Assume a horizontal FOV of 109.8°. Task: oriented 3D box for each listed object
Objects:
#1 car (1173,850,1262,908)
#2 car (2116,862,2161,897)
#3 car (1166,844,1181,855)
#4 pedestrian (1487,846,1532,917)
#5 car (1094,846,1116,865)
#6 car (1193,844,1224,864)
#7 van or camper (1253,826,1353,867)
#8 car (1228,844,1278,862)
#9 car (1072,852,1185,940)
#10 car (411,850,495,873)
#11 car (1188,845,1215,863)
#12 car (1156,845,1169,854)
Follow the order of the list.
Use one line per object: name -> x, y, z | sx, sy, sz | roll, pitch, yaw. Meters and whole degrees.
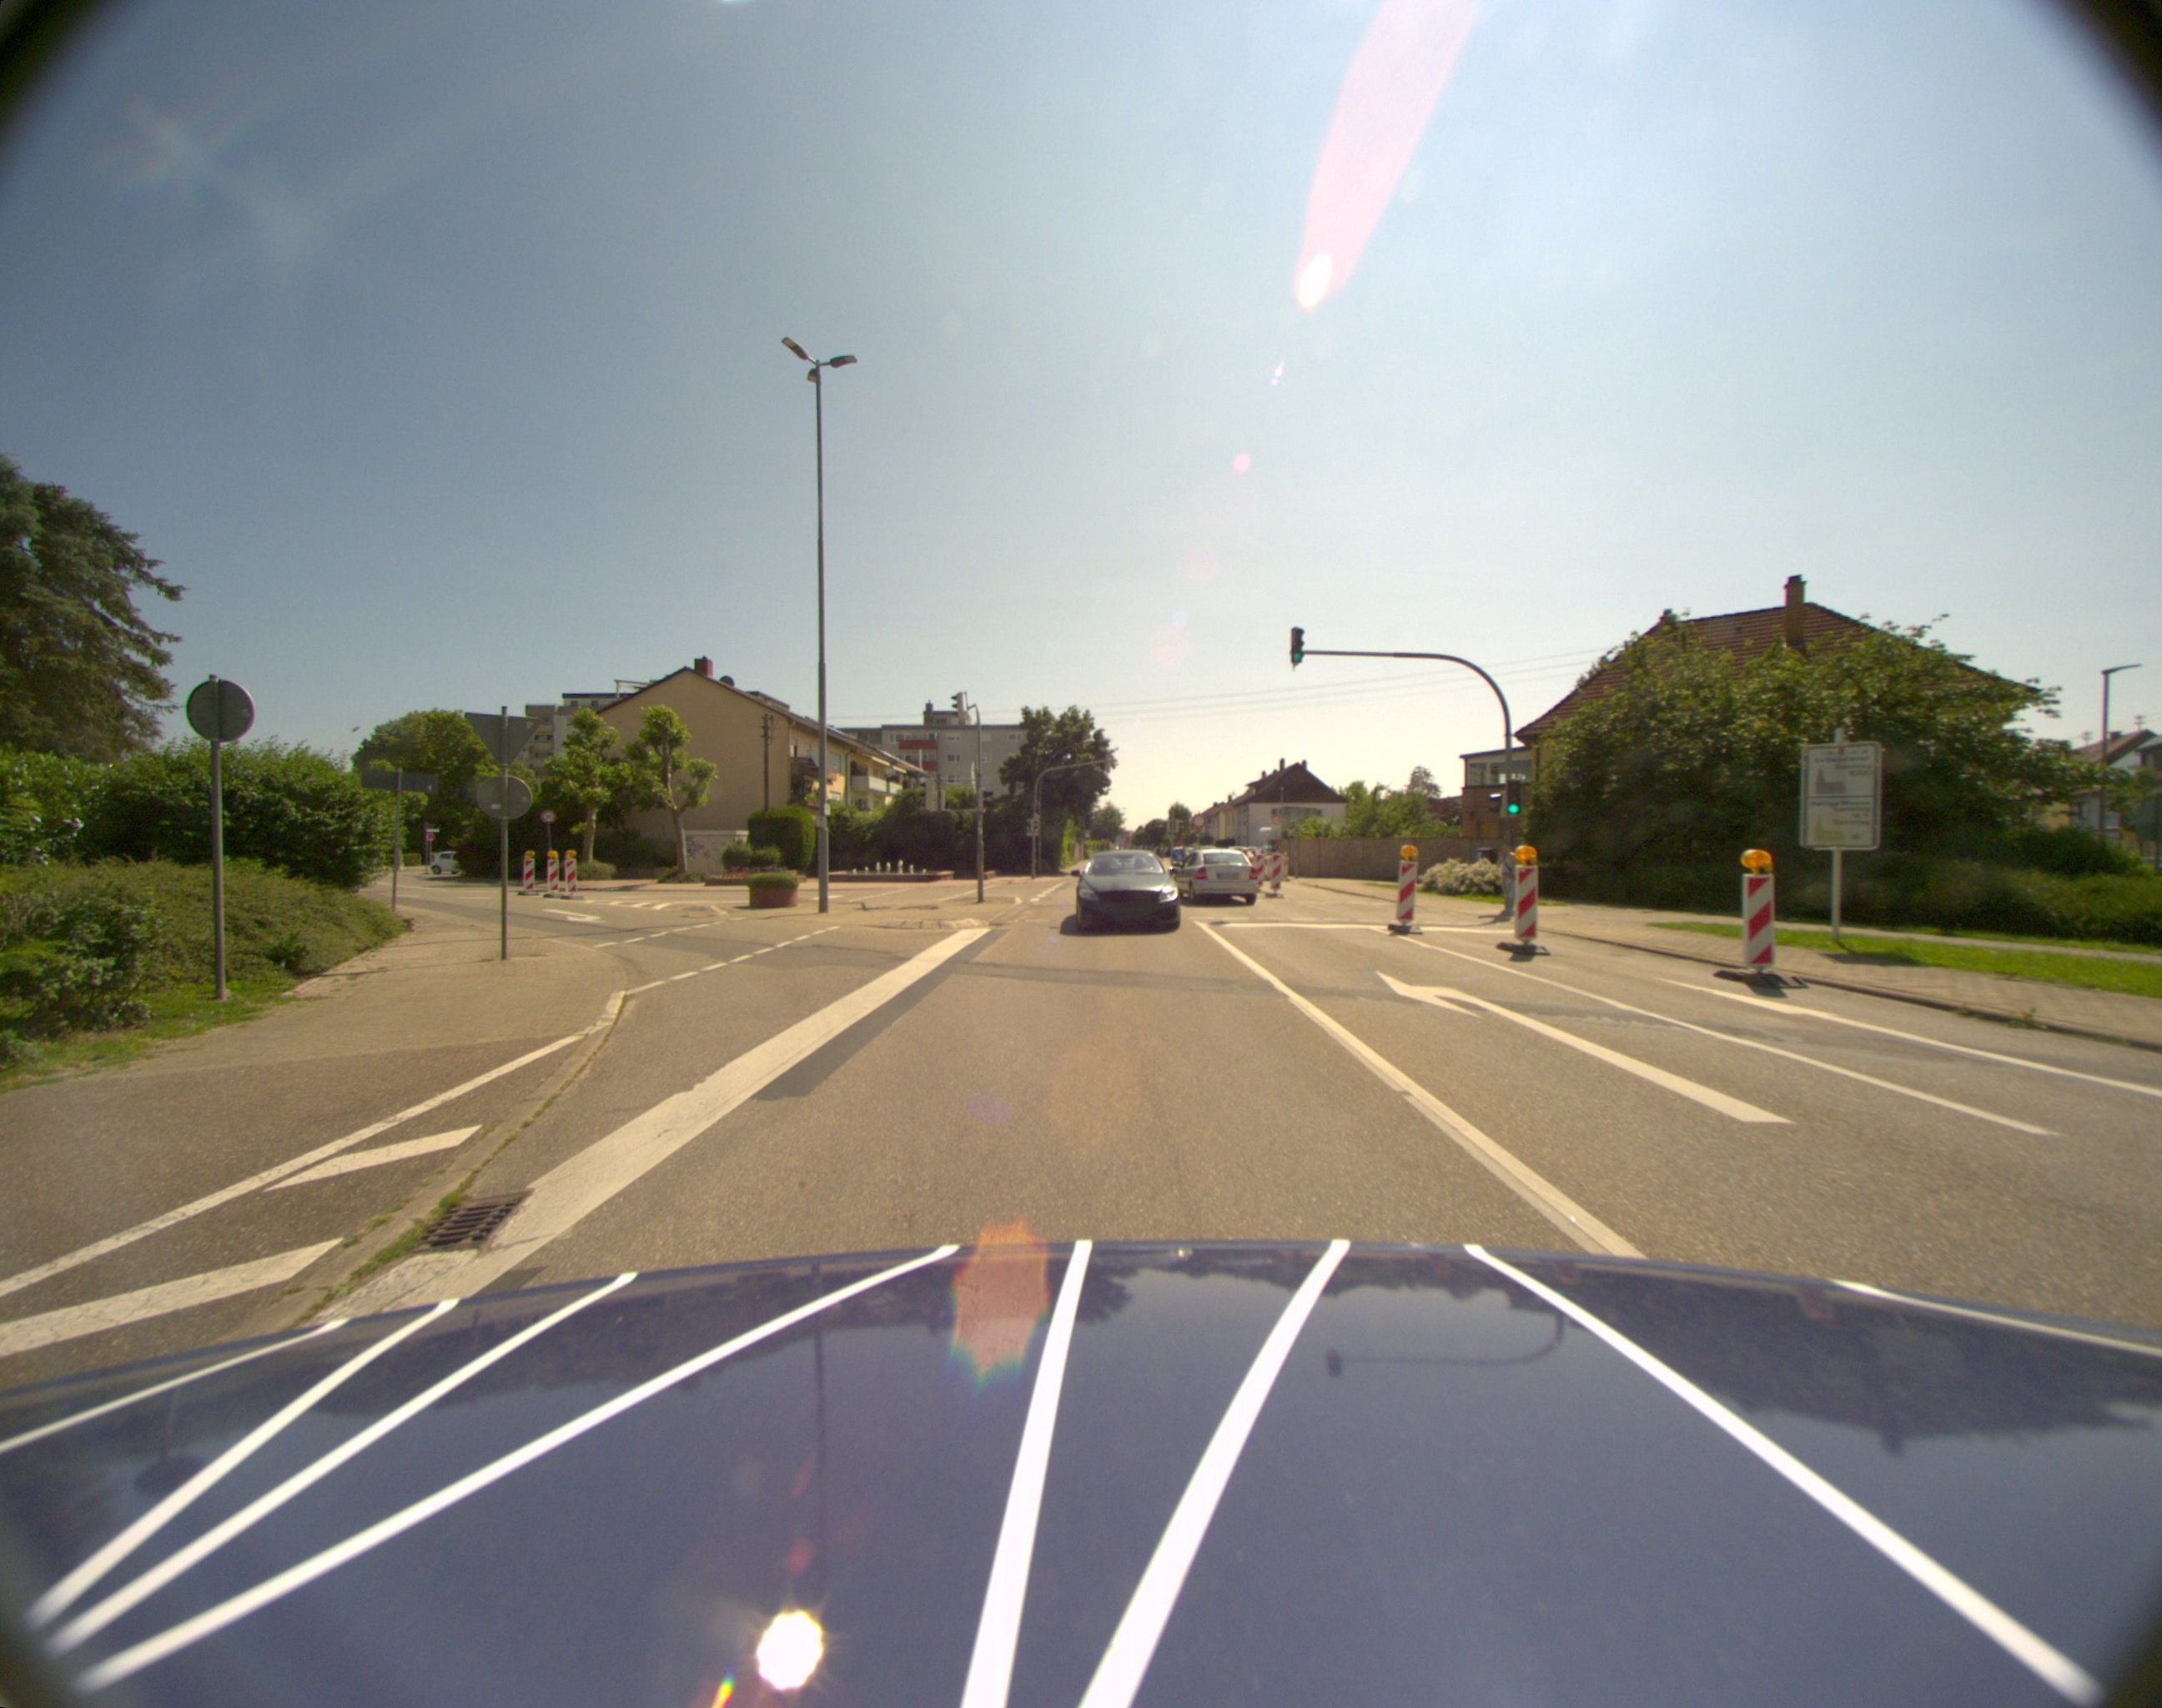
car -> 3.615, 0.603, 20.810 | 1.703, 1.395, 3.979 | 0, 1, 0
car -> 43.337, 1.019, 29.551 | 3.329, 1.324, 1.424 | 1, 1, 31
car -> 12.920, -0.606, 106.272 | 1.739, 1.504, 3.916 | 0, 1, 0
pedestrian -> 9.862, 0.618, 17.504 | 0.615, 1.598, 0.688 | -3, 1, 2
car -> 2.114, 0.121, 68.542 | 1.872, 1.586, 4.615 | 1, 1, 0
car -> 10.758, -0.039, 64.398 | 1.863, 1.581, 4.227 | 2, 1, 0
van or camper -> 15.435, -0.526, 53.005 | 6.262, 2.828, 2.288 | 0, 1, -7
car -> 15.257, -0.076, 67.421 | 3.998, 1.607, 1.767 | 0, 1, -4
car -> 0.886, 0.713, 15.347 | 1.889, 1.429, 4.838 | -1, 1, 2
car -> -42.692, 0.482, 51.710 | 3.998, 1.455, 1.943 | 1, 1, -3
car -> 11.028, -0.046, 69.581 | 1.862, 1.539, 4.177 | 2, 1, 1
car -> 13.496, -0.779, 125.888 | 1.739, 1.409, 3.916 | 0, 1, 0
